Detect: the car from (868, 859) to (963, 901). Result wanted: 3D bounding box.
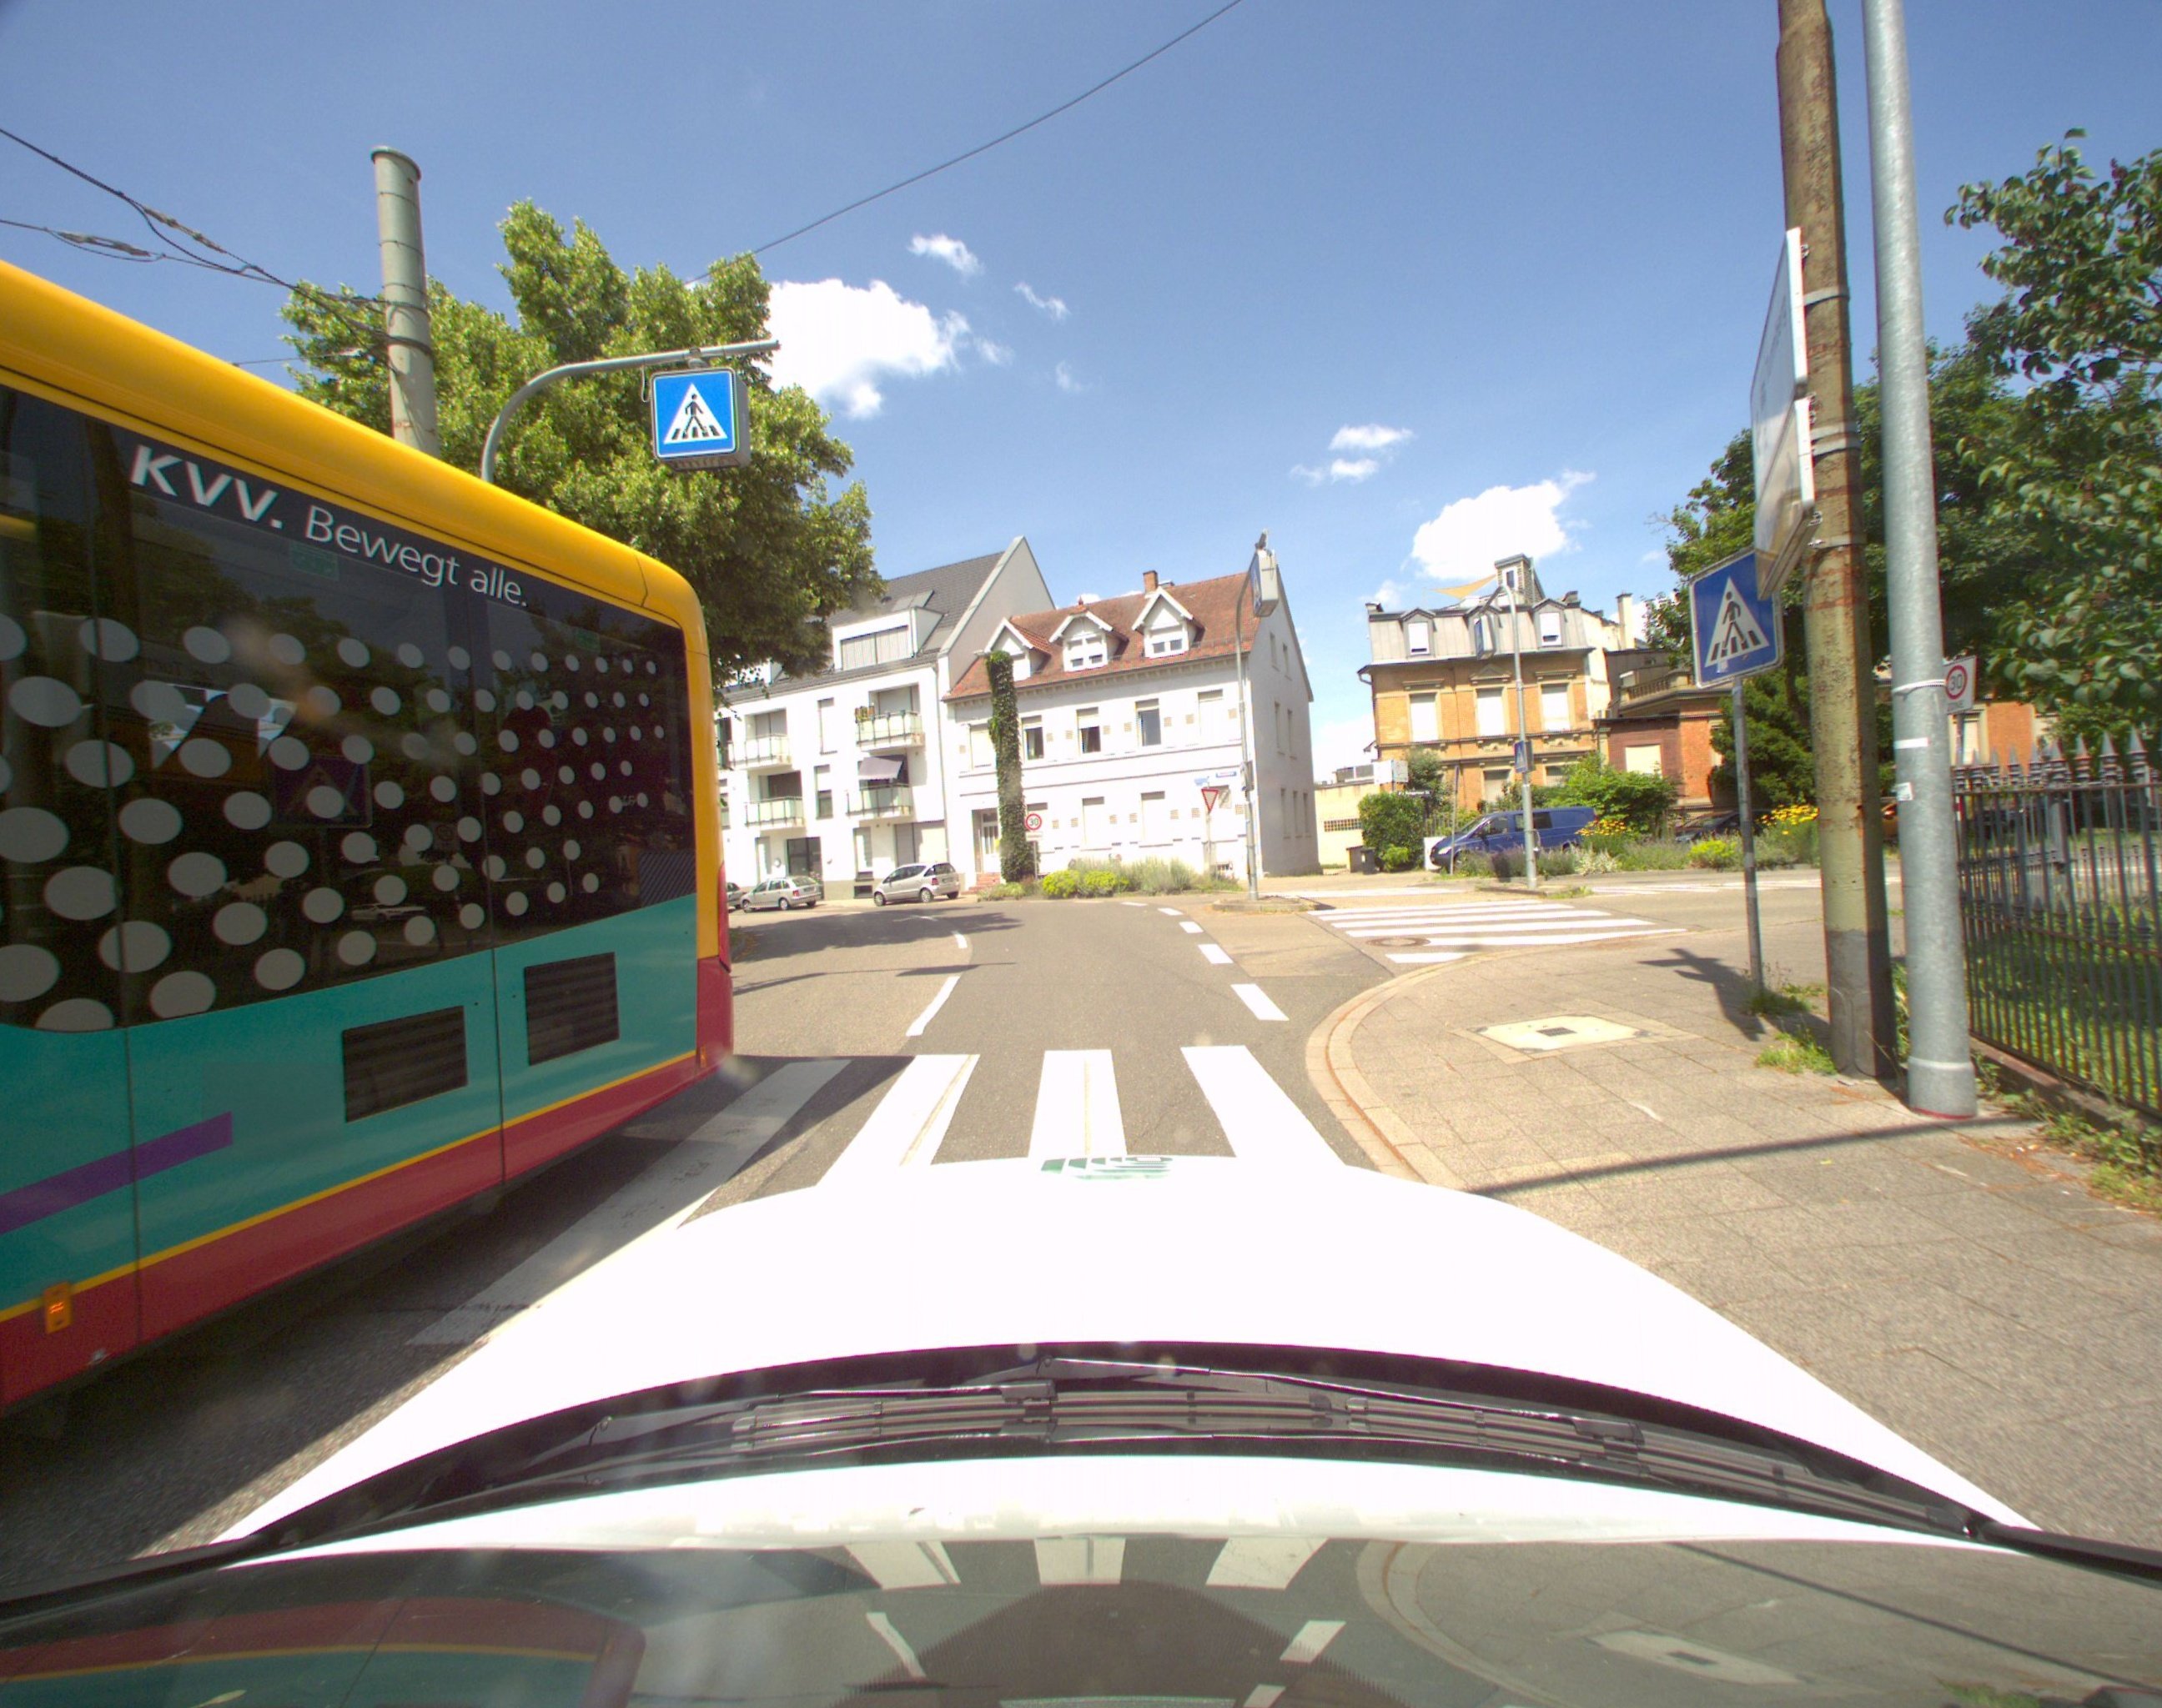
[{"bbox_3d":[-6.665,1.056,32.703,3.571,1.587,1.594,-3,-2,32],"label":"car"}]

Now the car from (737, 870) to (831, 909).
[{"bbox_3d":[-13.202,1.588,36.136,3.858,1.465,1.672,-3,4,29],"label":"car"}]

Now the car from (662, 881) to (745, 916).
[{"bbox_3d":[-17.669,2.087,38.136,3.461,1.357,1.431,-3,4,23],"label":"car"}]

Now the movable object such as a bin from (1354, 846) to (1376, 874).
[{"bbox_3d":[9.831,0.213,28.231,0.420,0.916,0.555,-1,-2,-23],"label":"movable object such as a bin"}]

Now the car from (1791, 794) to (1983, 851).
[{"bbox_3d":[25.910,-0.988,26.316,4.212,1.591,1.862,-2,-2,2],"label":"car"}]

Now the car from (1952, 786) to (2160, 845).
[{"bbox_3d":[31.021,-1.191,26.012,4.212,1.591,1.862,-2,-2,2],"label":"car"}]

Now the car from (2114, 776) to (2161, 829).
[{"bbox_3d":[36.344,-1.730,25.900,4.427,1.591,1.862,-2,-2,2],"label":"car"}]

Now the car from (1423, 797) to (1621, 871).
[{"bbox_3d":[14.217,-0.637,26.575,5.192,1.947,2.089,-4,1,10],"label":"car"}]
